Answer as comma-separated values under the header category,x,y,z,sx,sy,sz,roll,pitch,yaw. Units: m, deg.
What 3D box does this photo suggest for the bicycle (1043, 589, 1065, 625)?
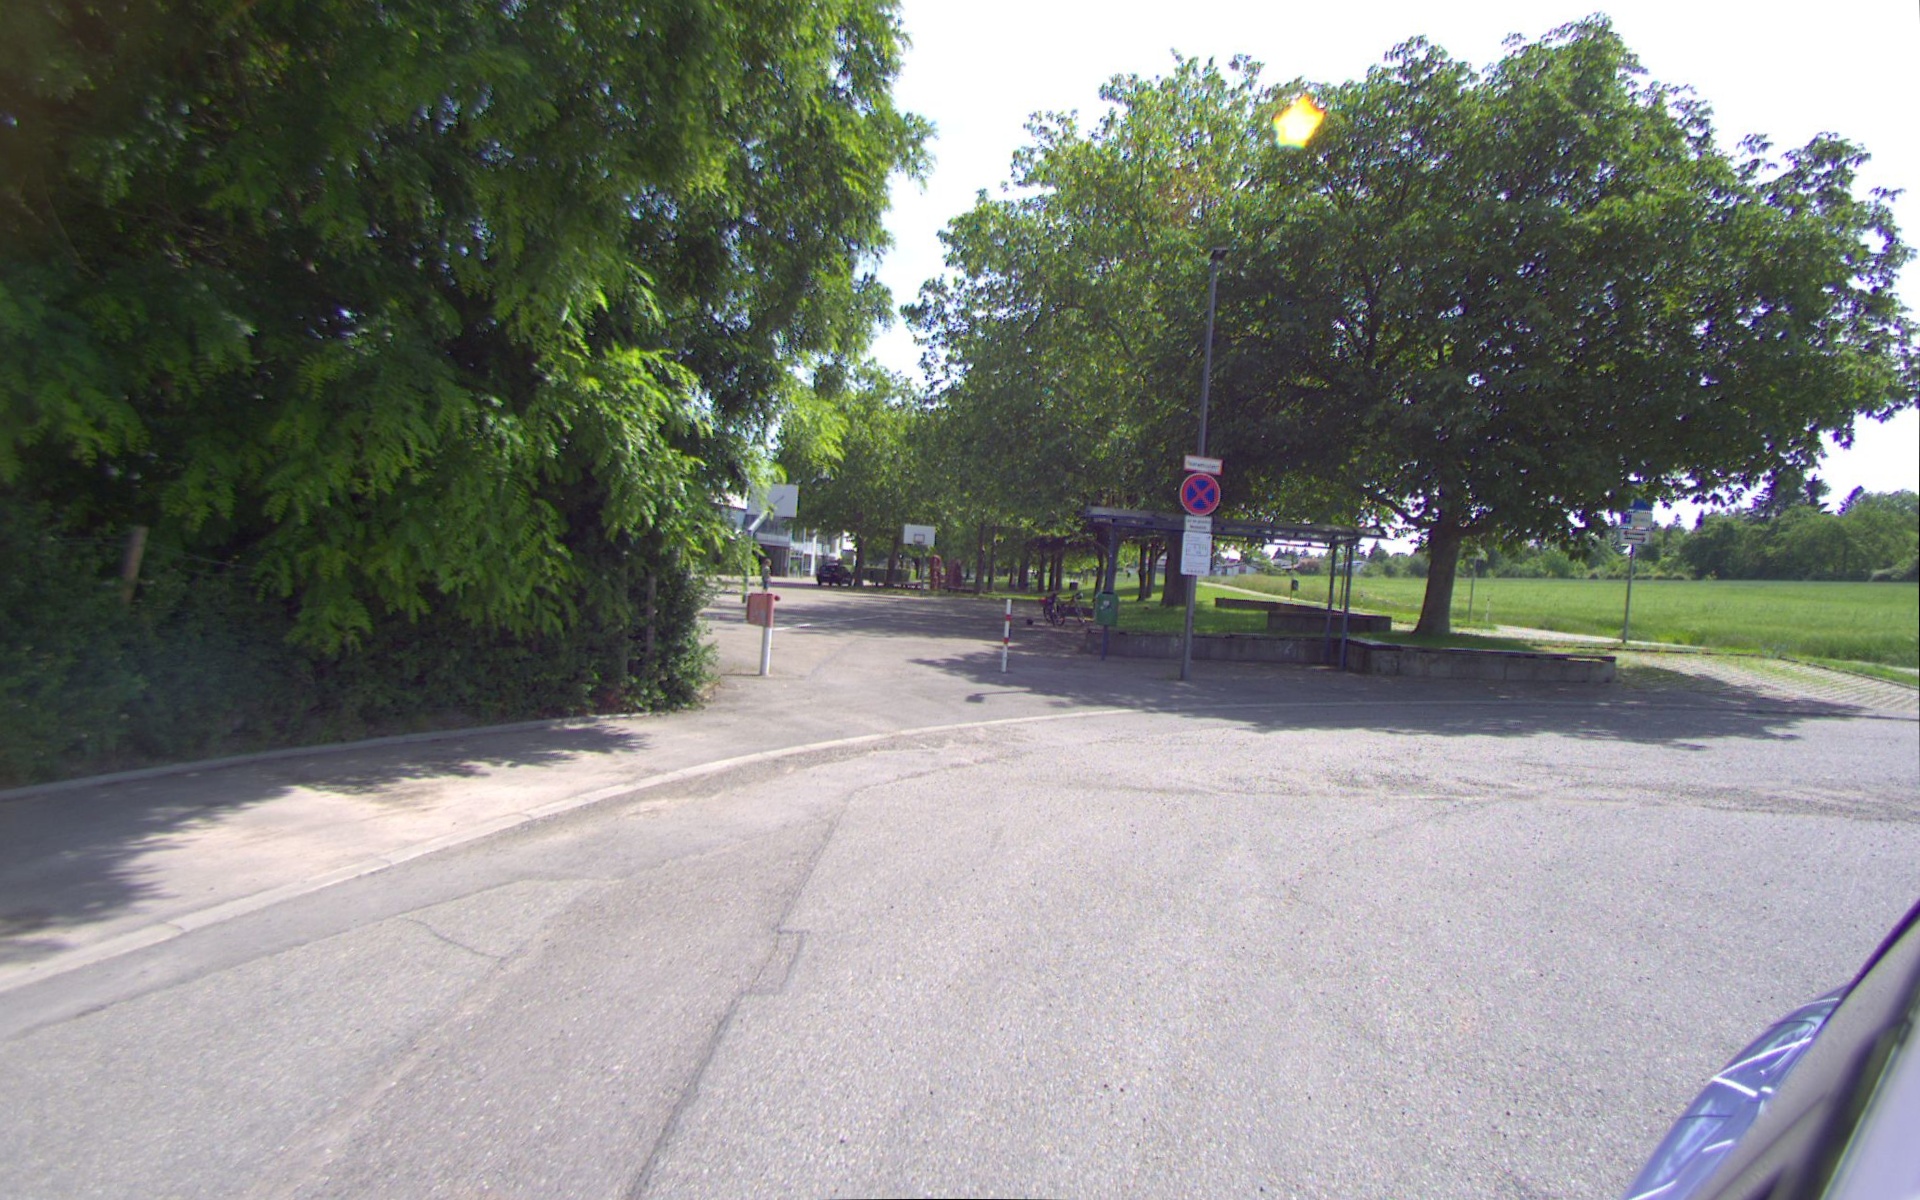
category,x,y,z,sx,sy,sz,roll,pitch,yaw
bicycle,2.932,0.205,31.605,0.586,1.052,1.889,2,1,7

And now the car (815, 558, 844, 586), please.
category,x,y,z,sx,sy,sz,roll,pitch,yaw
car,-9.106,-1.946,70.857,1.664,1.857,3.413,3,1,-2

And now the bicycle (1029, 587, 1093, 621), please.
category,x,y,z,sx,sy,sz,roll,pitch,yaw
bicycle,3.386,0.142,33.934,2.027,1.052,0.573,2,1,-7

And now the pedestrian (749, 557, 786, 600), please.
category,x,y,z,sx,sy,sz,roll,pitch,yaw
pedestrian,-6.782,-0.750,35.624,1.047,1.441,0.921,3,0,-25

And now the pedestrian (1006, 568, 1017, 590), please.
category,x,y,z,sx,sy,sz,roll,pitch,yaw
pedestrian,4.981,-2.025,98.301,0.817,2.039,0.693,3,0,-16
